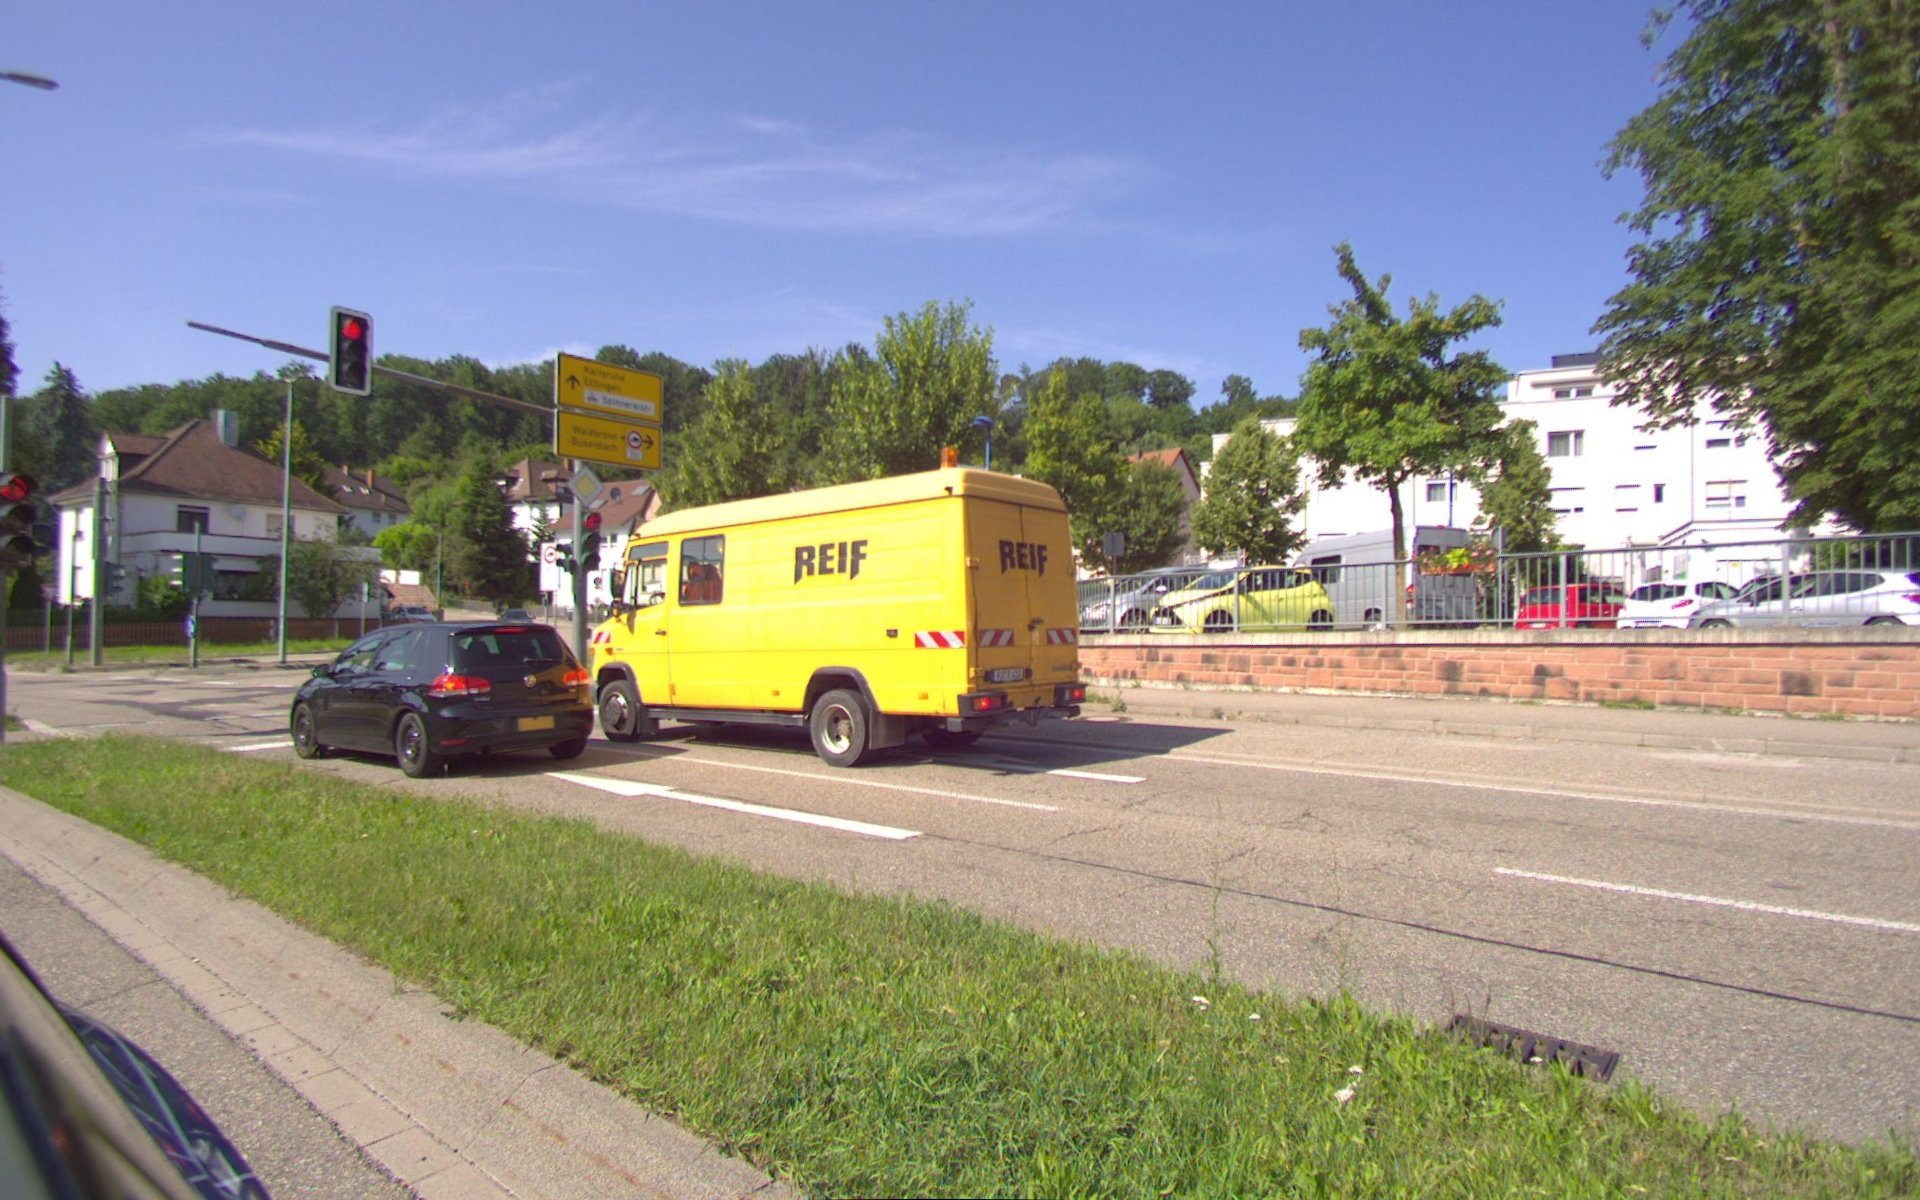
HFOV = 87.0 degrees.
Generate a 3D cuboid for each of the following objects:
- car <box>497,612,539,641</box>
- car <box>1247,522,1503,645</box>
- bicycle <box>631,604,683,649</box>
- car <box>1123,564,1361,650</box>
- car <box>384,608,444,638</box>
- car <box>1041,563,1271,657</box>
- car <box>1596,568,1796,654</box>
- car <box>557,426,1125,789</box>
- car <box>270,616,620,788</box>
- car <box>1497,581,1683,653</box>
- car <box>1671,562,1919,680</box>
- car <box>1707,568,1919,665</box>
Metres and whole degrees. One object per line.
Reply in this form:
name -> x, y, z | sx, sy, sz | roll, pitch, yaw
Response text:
car -> -24.804, 1.498, 56.729 | 1.946, 1.495, 4.766 | -2, -1, -25
car -> 9.351, -0.295, 23.566 | 2.064, 2.462, 5.803 | -2, -1, -19
bicycle -> -9.308, 0.824, 31.082 | 1.756, 1.265, 0.612 | -5, 1, 42
car -> 5.331, 0.112, 19.220 | 3.931, 1.392, 1.920 | -2, -1, -21
car -> -33.074, 1.381, 61.263 | 3.999, 1.649, 1.914 | -3, -1, 42
car -> 4.173, 0.172, 21.667 | 4.339, 1.709, 2.064 | -3, 0, -21
car -> 16.792, 0.247, 23.099 | 3.931, 1.714, 1.920 | -3, -1, -24
car -> -1.625, 0.103, 11.407 | 6.456, 3.033, 2.444 | -1, 0, 38
car -> -5.504, 0.934, 10.637 | 4.037, 1.474, 1.729 | -2, -2, 38
car -> 15.760, 0.405, 25.331 | 3.931, 1.571, 1.920 | -2, -1, -21
car -> 14.882, 0.352, 17.349 | 1.888, 1.803, 4.013 | 0, -1, -21
car -> 17.353, 0.295, 20.194 | 3.931, 1.684, 2.006 | -2, -1, -19
